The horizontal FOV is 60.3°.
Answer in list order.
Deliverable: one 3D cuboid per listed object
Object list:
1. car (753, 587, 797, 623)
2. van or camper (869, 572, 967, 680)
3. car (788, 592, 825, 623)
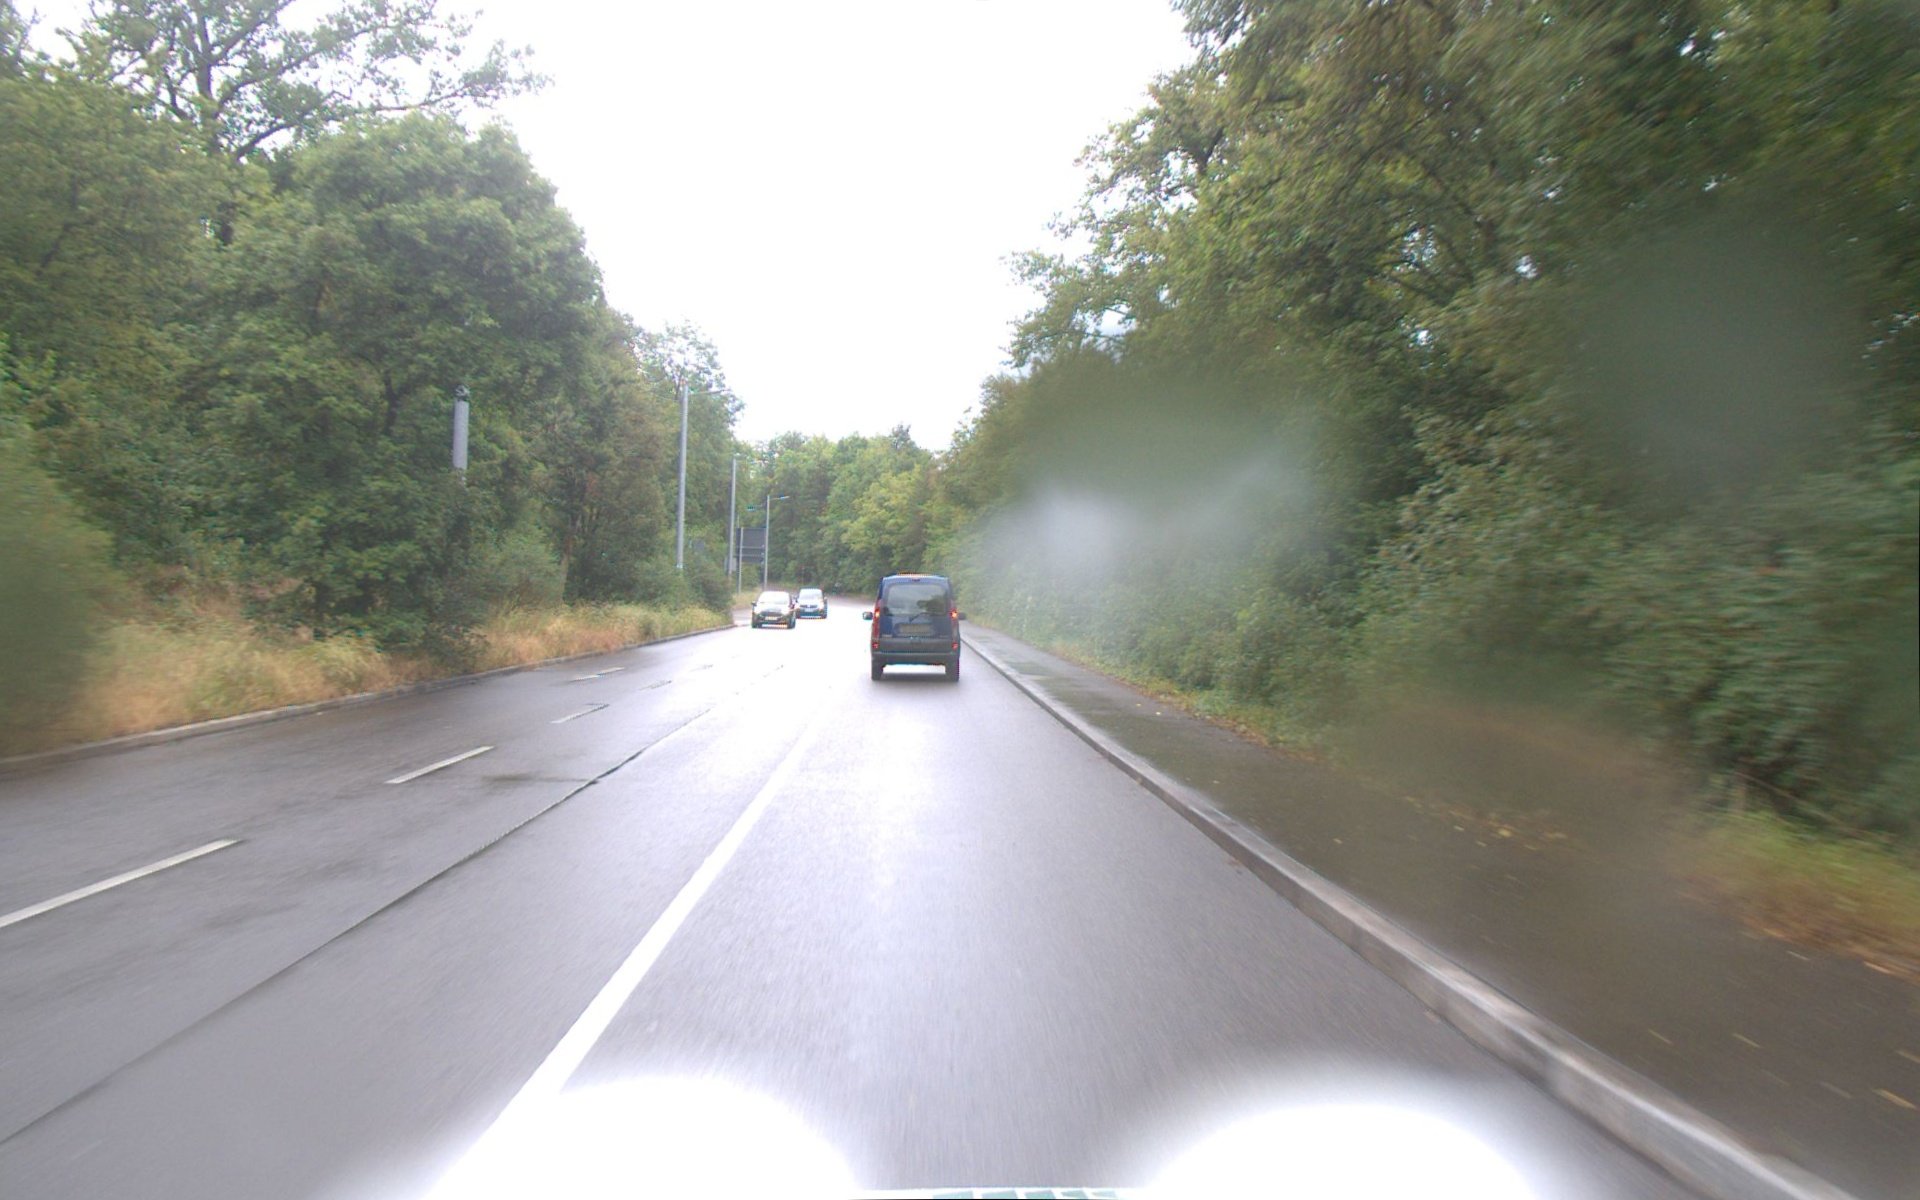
[{"bbox_3d":[-7.677,0.197,68.943,1.567,1.466,3.989,0,0,-3],"label":"car"},{"bbox_3d":[-0.813,0.416,30.735,1.678,1.857,3.998,-1,1,-2],"label":"van or camper"},{"bbox_3d":[-8.555,0.415,92.316,1.736,1.638,4.082,2,0,-2],"label":"car"}]
